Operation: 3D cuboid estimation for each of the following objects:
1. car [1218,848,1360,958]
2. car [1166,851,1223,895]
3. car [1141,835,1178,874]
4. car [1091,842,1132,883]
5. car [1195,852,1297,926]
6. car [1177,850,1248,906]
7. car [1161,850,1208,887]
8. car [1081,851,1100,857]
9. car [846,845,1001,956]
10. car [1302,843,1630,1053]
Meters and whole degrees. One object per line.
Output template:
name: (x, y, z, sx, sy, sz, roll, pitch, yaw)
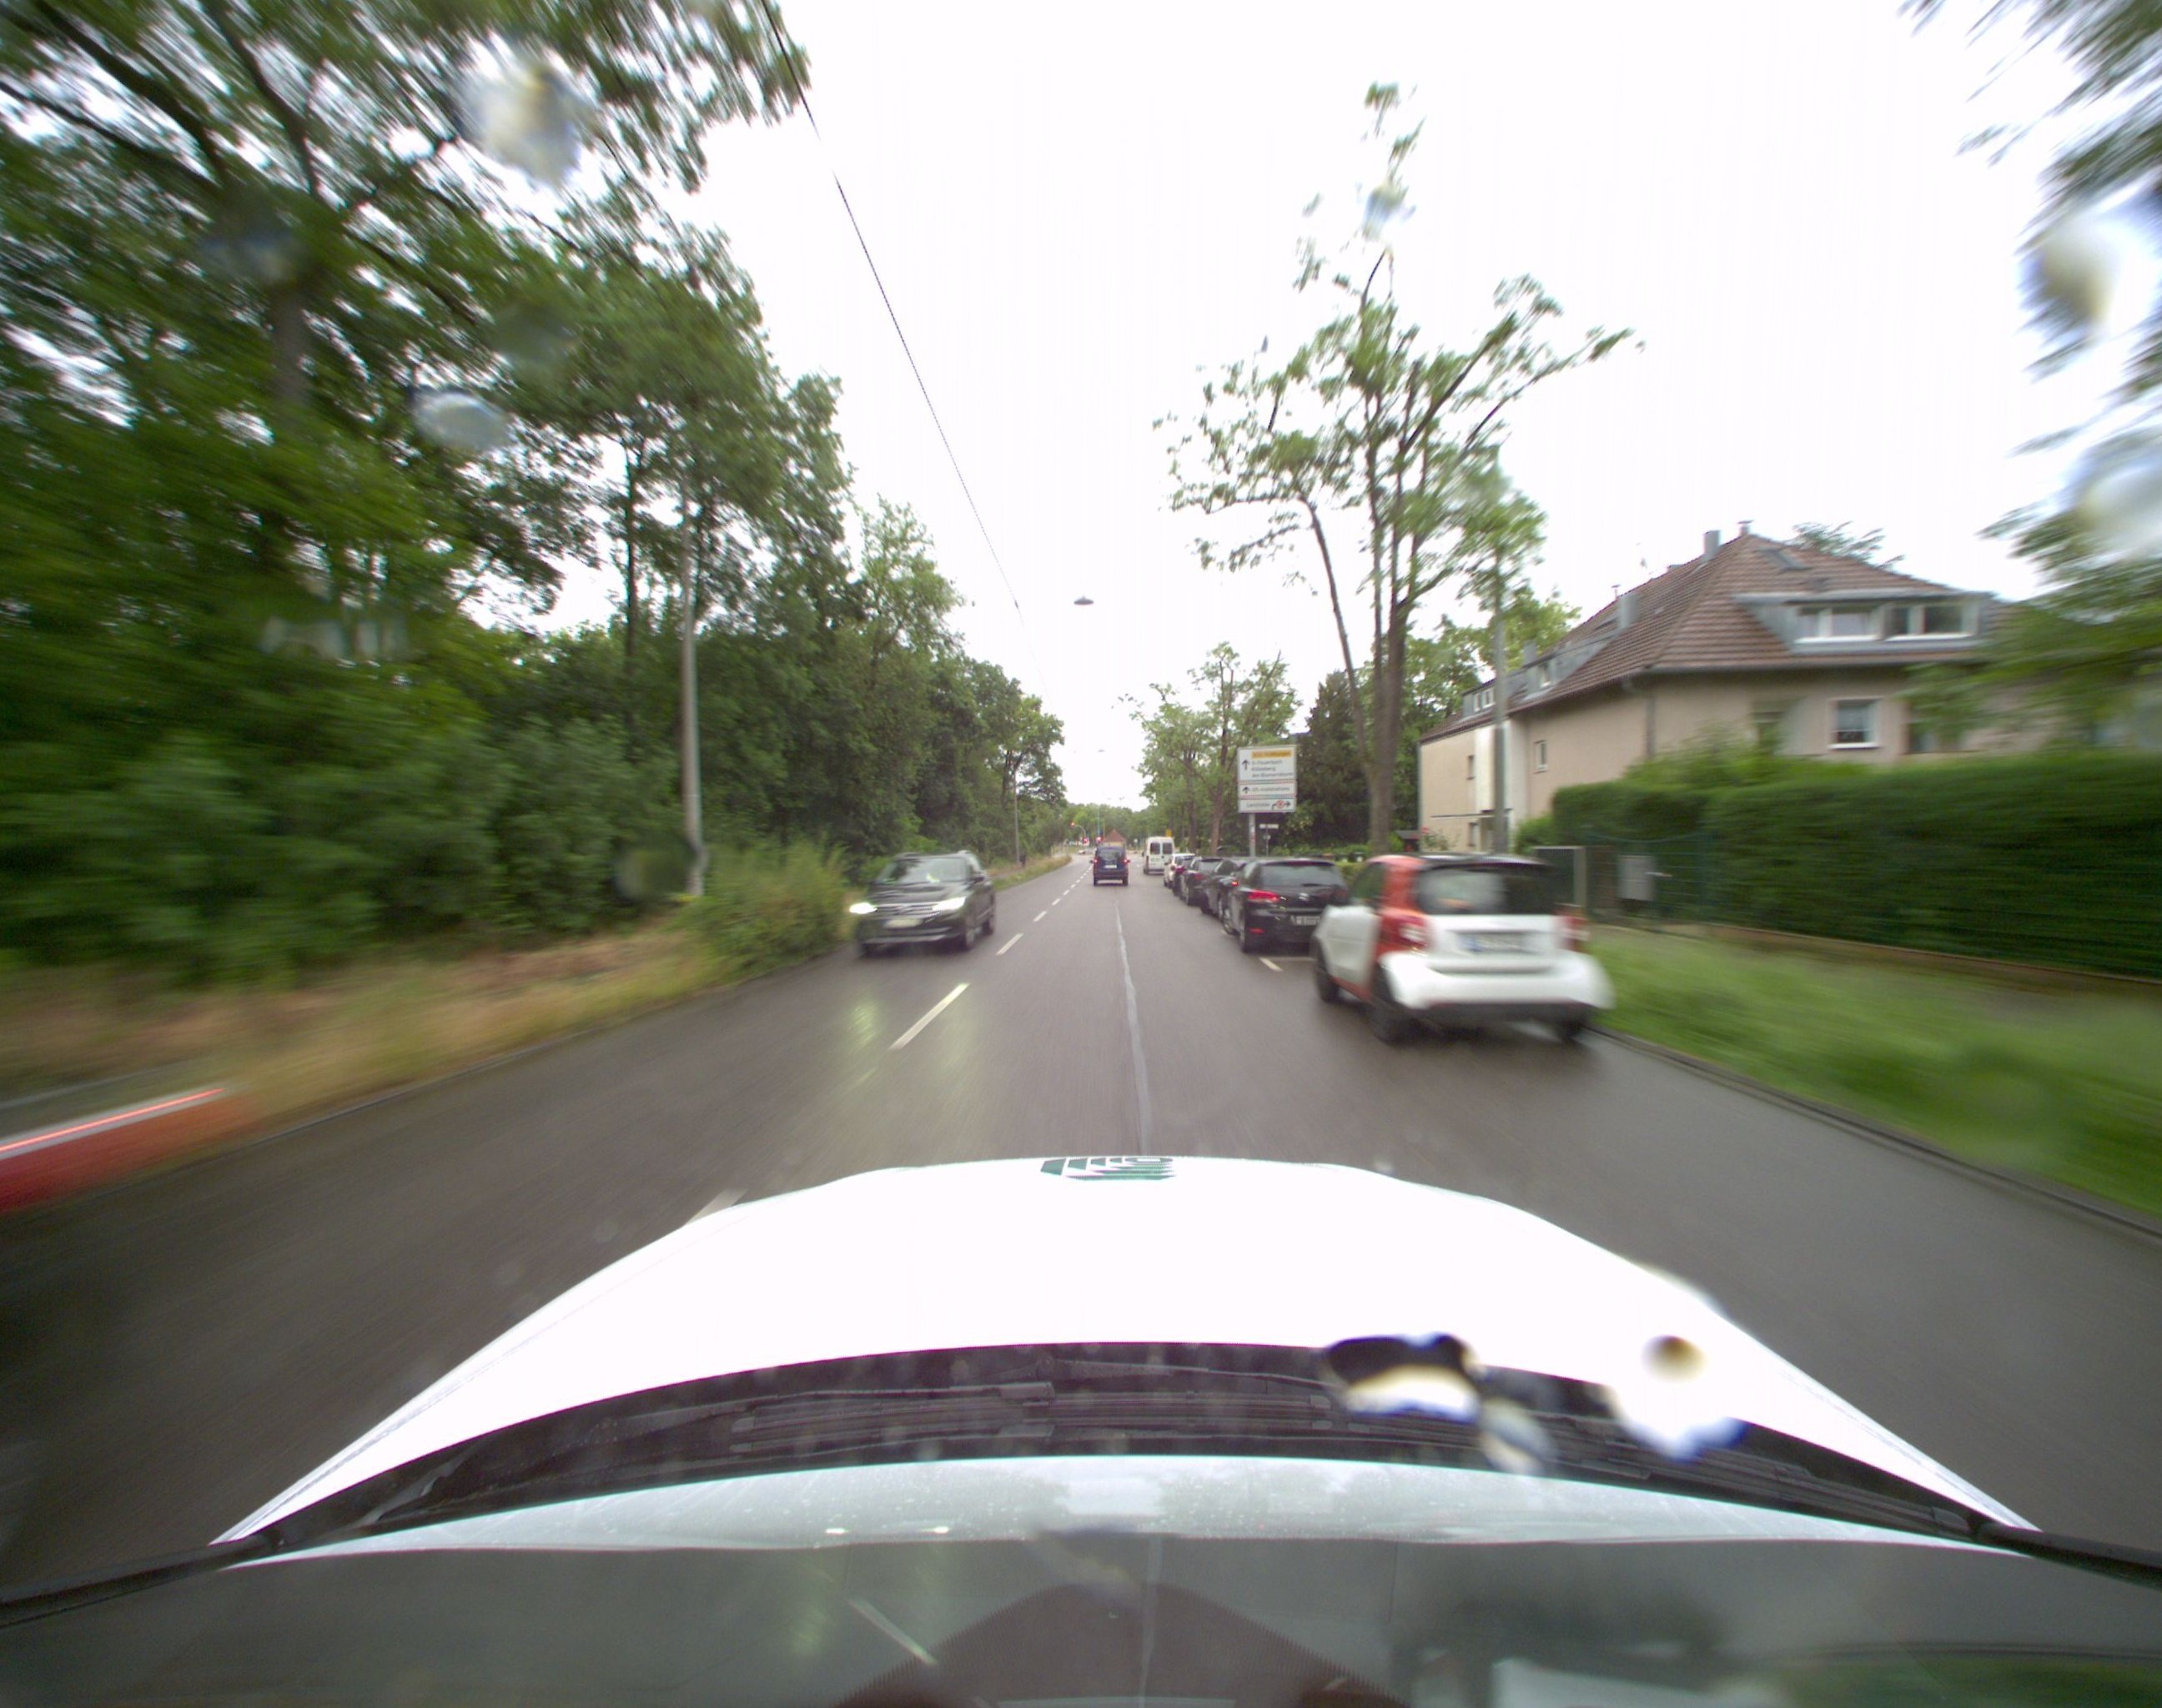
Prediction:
car: (3.336, 0.690, 13.719, 1.690, 1.524, 3.873, 0, 1, 5)
car: (4.156, 0.651, 30.355, 1.692, 1.524, 3.869, 0, 1, 1)
car: (5.276, 0.024, 55.013, 2.196, 2.449, 4.732, -1, 0, 2)
car: (1.395, 0.343, 38.660, 1.761, 1.830, 3.541, 0, 1, -1)
car: (3.762, 0.744, 19.162, 1.692, 1.524, 3.869, 0, 1, 1)
car: (3.932, 0.661, 24.938, 1.691, 1.524, 4.214, 0, 1, 3)
car: (4.551, 0.619, 36.168, 1.692, 1.524, 3.869, 0, 1, 1)
car: (2.147, 0.020, 182.039, 4.010, 1.376, 1.724, 1, 1, 11)
car: (-2.608, 0.685, 14.490, 1.716, 1.615, 4.158, -2, 1, 2)
car: (3.218, 0.671, 7.439, 1.627, 1.509, 2.958, 0, 1, 1)
